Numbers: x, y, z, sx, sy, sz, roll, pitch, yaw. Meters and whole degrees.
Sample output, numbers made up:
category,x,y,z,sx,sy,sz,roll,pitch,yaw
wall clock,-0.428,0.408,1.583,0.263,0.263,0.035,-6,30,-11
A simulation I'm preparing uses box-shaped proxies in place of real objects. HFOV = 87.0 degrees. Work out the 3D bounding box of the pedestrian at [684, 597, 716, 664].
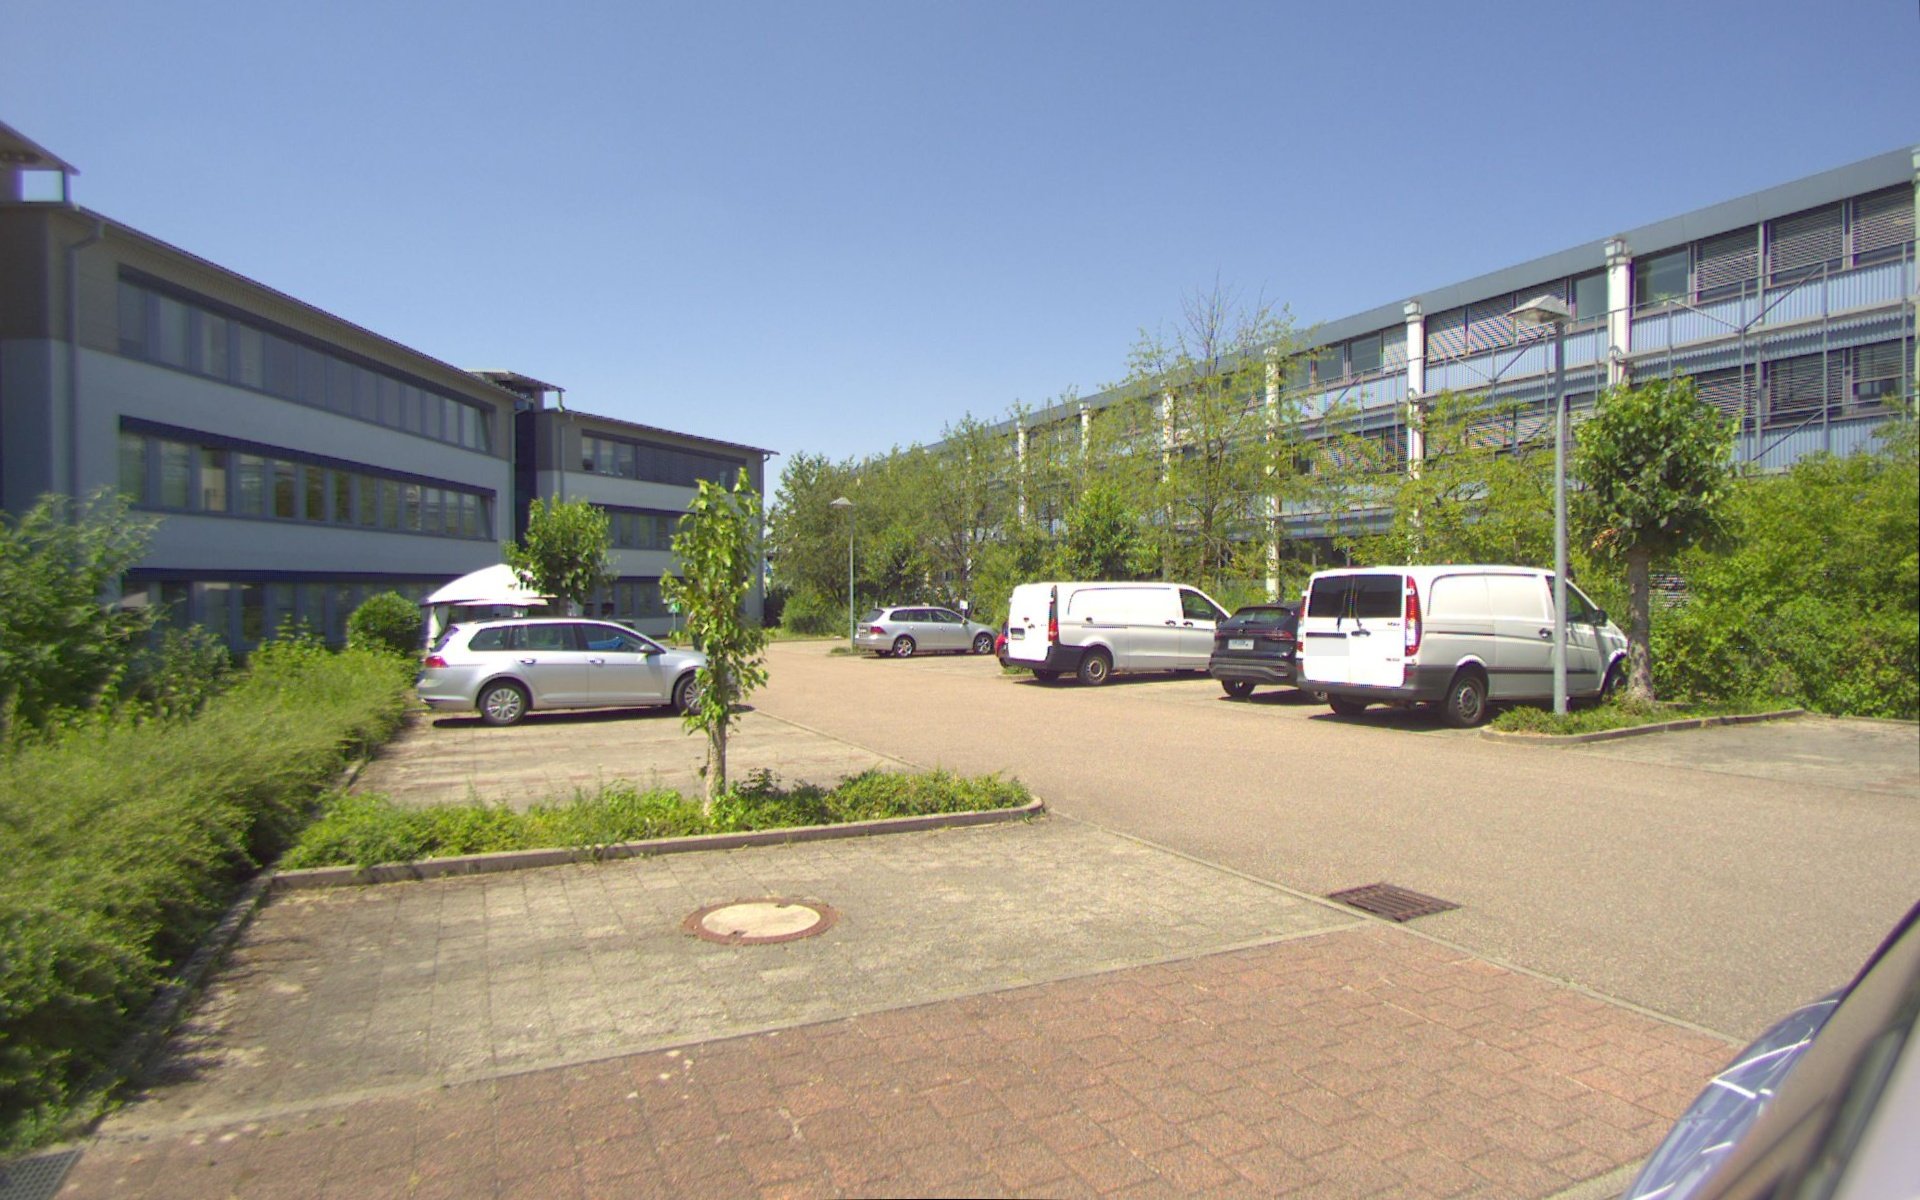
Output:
category,x,y,z,sx,sy,sz,roll,pitch,yaw
pedestrian,-7.164,0.820,27.848,0.684,1.779,0.778,-2,0,-23

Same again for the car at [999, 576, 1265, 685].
category,x,y,z,sx,sy,sz,roll,pitch,yaw
car,3.329,0.509,19.483,4.833,1.879,1.859,-1,0,-25

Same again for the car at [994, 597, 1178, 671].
category,x,y,z,sx,sy,sz,roll,pitch,yaw
car,2.849,0.726,22.915,3.840,1.507,1.627,-1,0,-25

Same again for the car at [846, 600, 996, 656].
category,x,y,z,sx,sy,sz,roll,pitch,yaw
car,-1.142,0.769,29.572,4.000,1.503,1.742,-1,0,-24

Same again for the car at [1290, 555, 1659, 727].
category,x,y,z,sx,sy,sz,roll,pitch,yaw
car,6.643,0.431,12.989,4.582,1.884,1.871,-1,-1,-27

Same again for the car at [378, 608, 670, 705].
category,x,y,z,sx,sy,sz,roll,pitch,yaw
car,-7.604,0.904,17.869,4.518,1.513,1.859,0,-1,-27

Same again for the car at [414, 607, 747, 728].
category,x,y,z,sx,sy,sz,roll,pitch,yaw
car,-5.509,0.880,14.844,4.337,1.539,1.859,0,-1,-27

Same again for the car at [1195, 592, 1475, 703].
category,x,y,z,sx,sy,sz,roll,pitch,yaw
car,5.838,0.654,15.688,4.112,1.503,1.742,-1,0,-27
